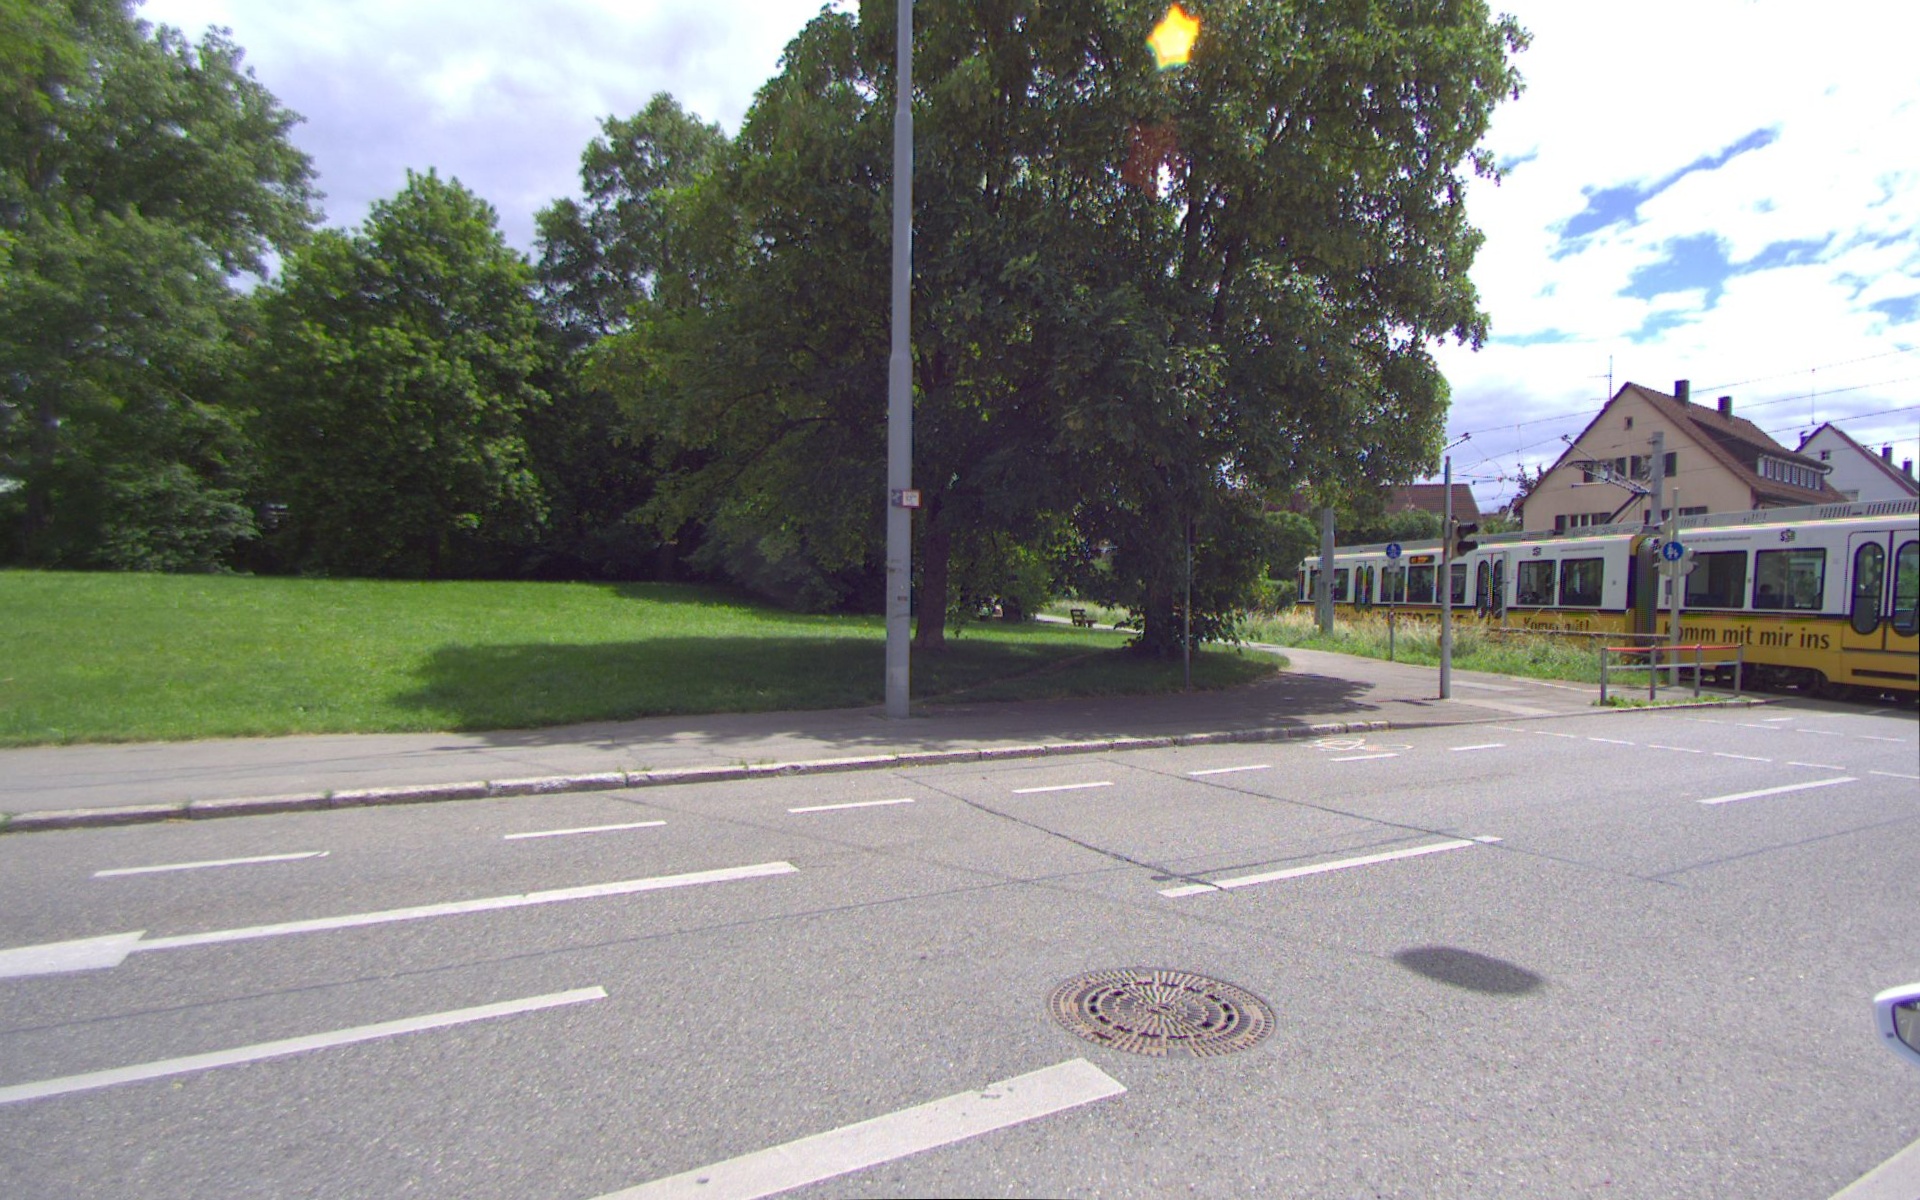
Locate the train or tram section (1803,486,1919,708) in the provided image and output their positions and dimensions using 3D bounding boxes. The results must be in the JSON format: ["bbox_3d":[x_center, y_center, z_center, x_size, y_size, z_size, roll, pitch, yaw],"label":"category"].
[{"bbox_3d":[17.980,0.022,15.486,2.816,3.772,7.707,2,1,-7],"label":"train or tram section"}]

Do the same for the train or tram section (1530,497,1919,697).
[{"bbox_3d":[17.126,-0.116,23.142,2.816,3.772,7.707,2,1,-7],"label":"train or tram section"}]

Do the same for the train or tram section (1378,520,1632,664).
[{"bbox_3d":[16.246,-0.280,30.790,2.816,3.772,7.707,2,1,-7],"label":"train or tram section"}]

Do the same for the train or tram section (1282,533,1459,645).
[{"bbox_3d":[15.391,-0.438,38.461,2.816,3.772,7.707,2,1,-7],"label":"train or tram section"}]
